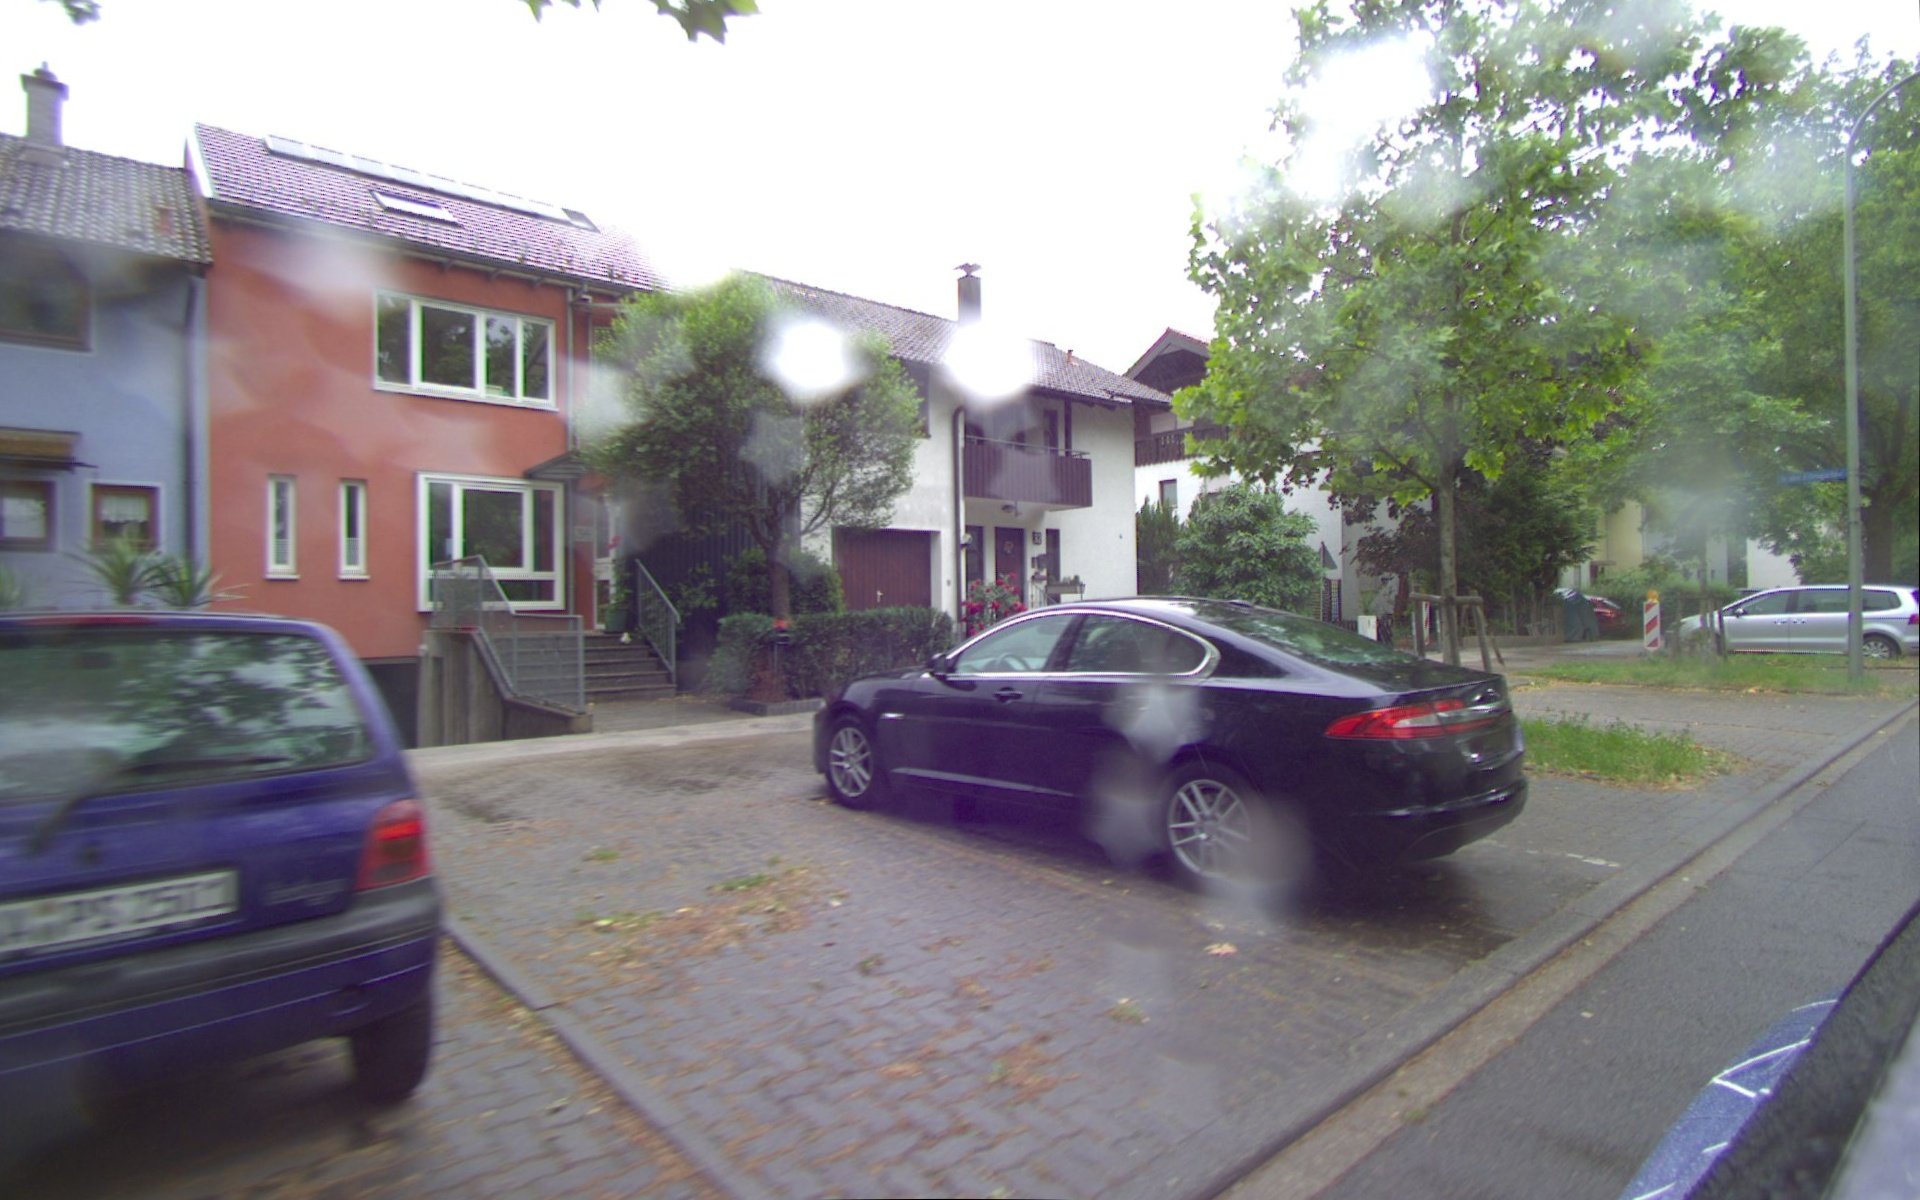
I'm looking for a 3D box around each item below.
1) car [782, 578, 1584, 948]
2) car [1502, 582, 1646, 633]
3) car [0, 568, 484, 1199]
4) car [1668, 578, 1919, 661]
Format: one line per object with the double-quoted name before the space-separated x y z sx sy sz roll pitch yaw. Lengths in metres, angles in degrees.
"car" 1.016 0.644 6.469 1.906 1.491 4.768 0 0 -44
"car" 20.995 0.237 34.721 1.809 1.633 3.853 0 0 -38
"car" -2.979 0.683 3.454 1.591 1.482 3.360 0 0 -41
"car" 18.707 0.387 22.387 1.942 1.682 4.694 0 0 -42
